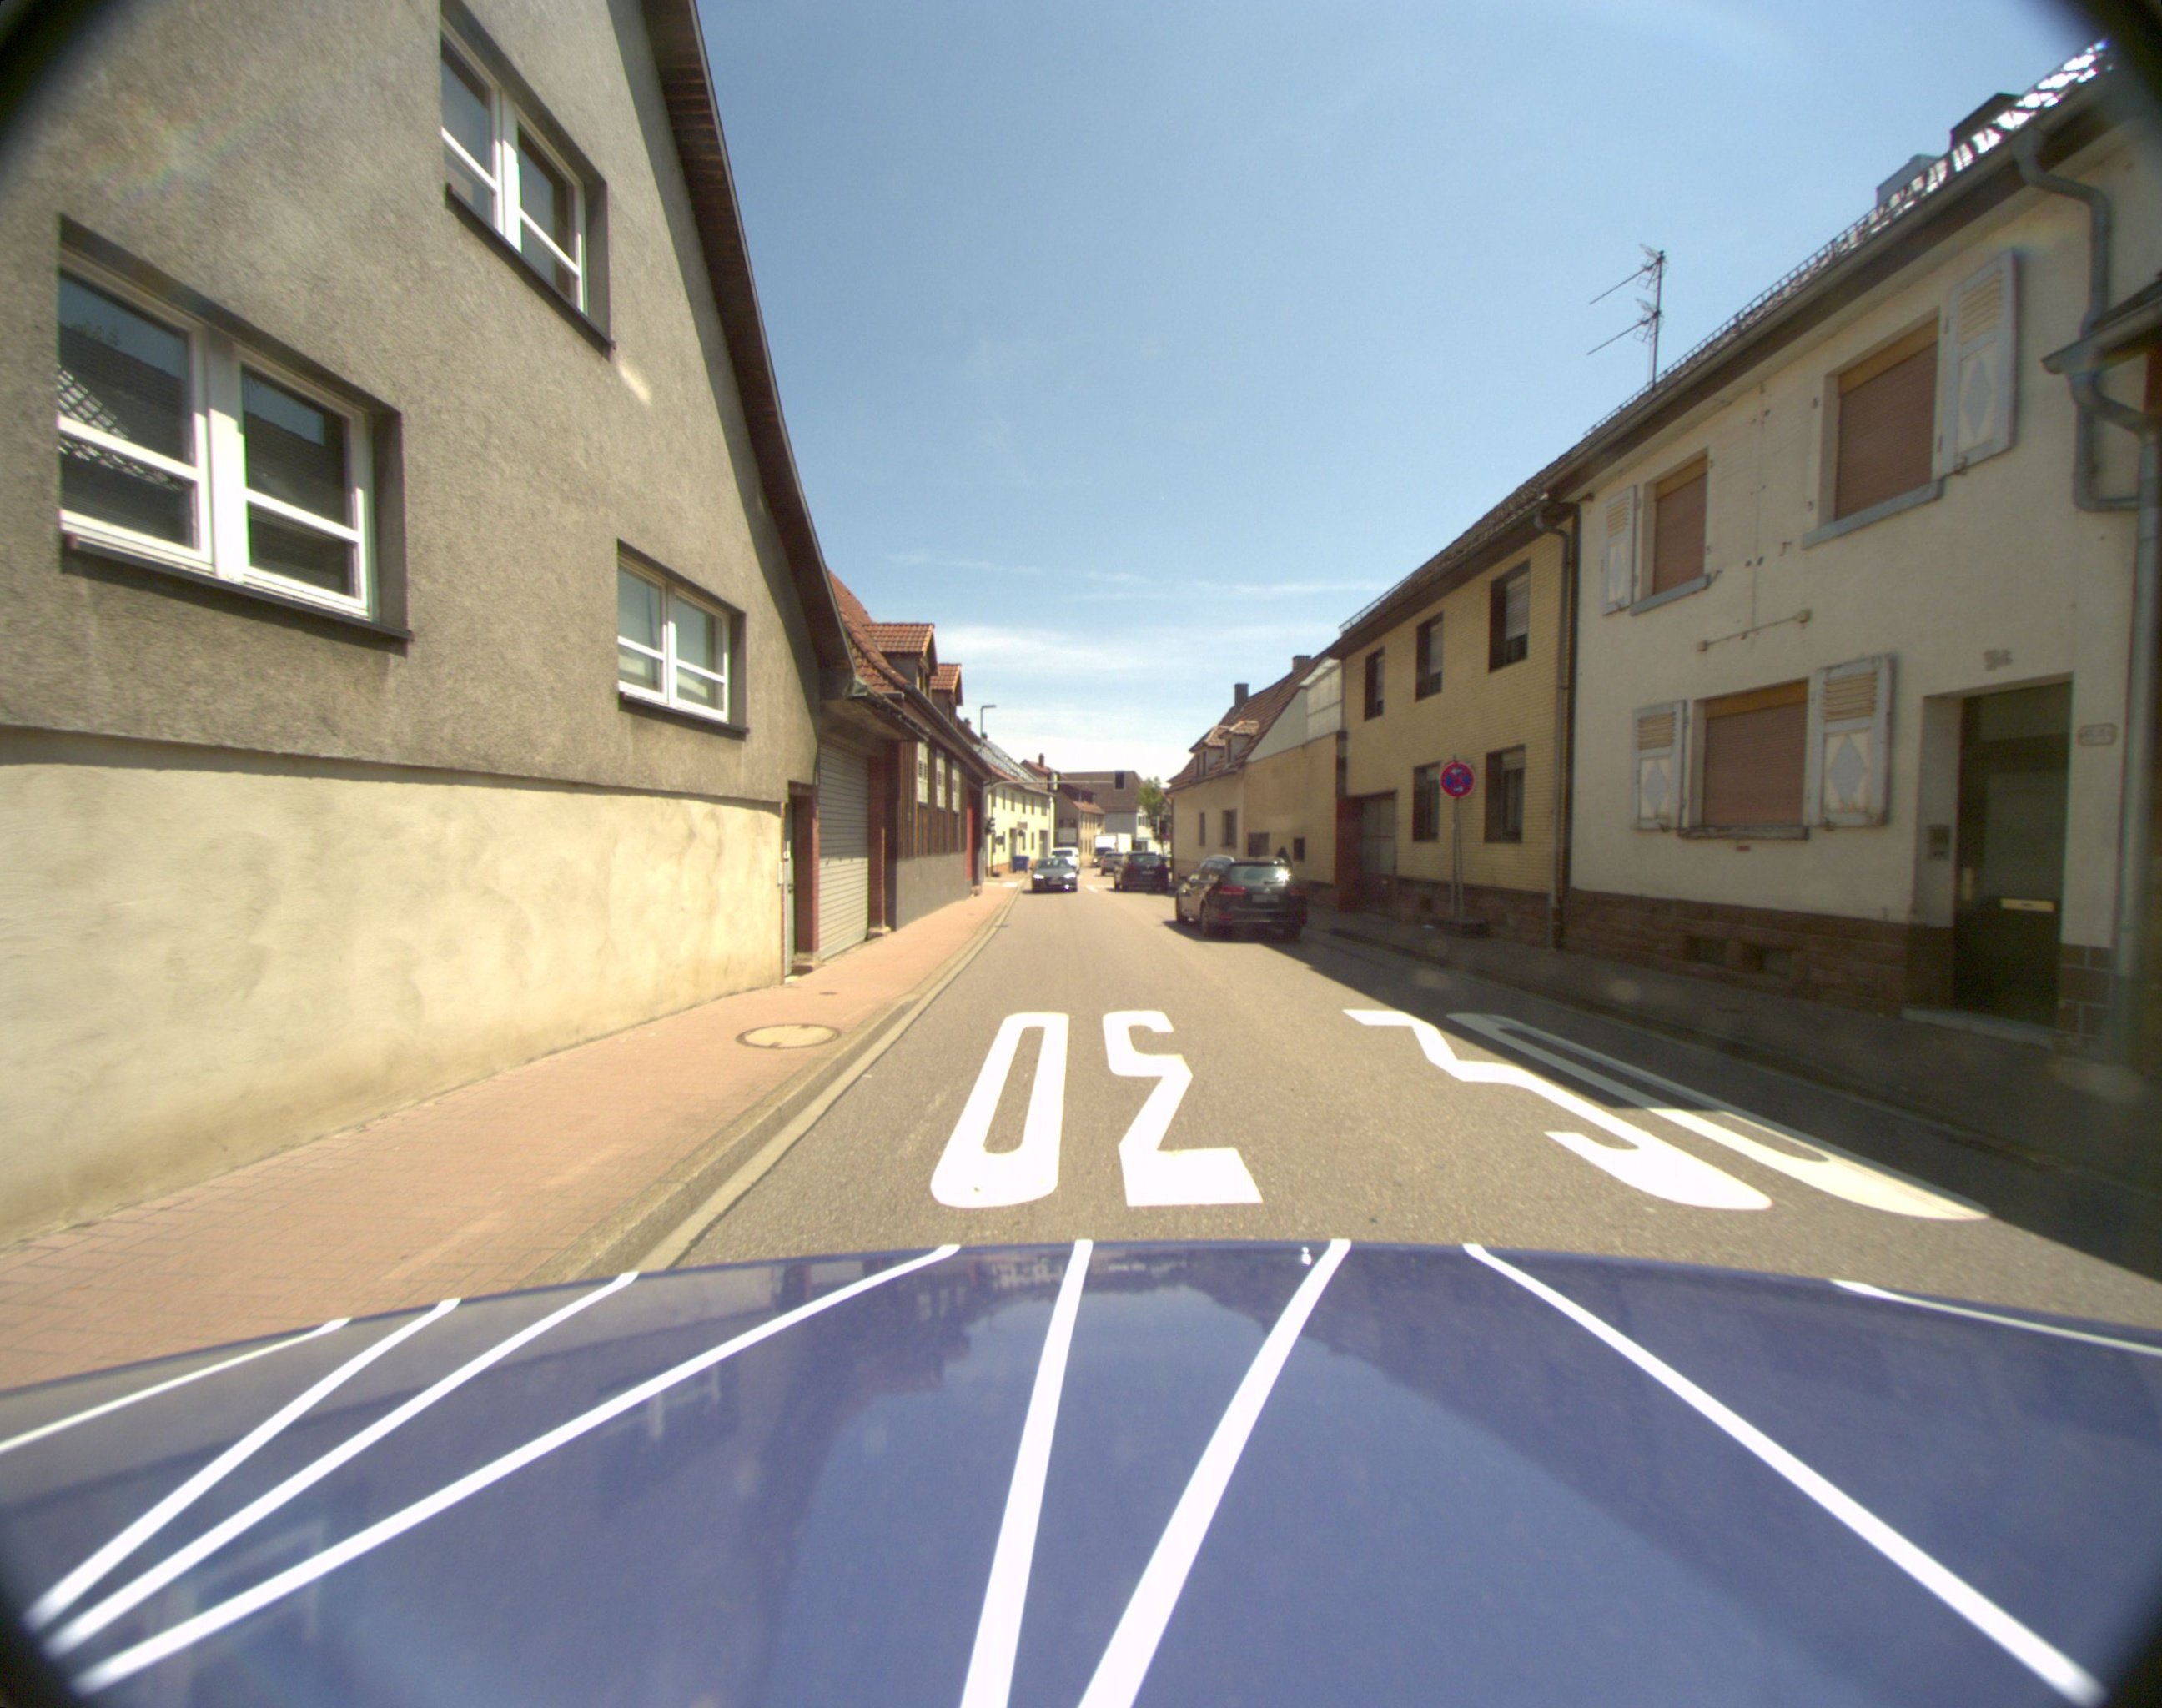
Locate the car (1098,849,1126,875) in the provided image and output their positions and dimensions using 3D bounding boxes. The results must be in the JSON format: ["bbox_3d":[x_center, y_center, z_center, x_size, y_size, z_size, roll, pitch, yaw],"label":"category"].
[{"bbox_3d":[2.124,0.501,51.340,1.833,1.612,4.261,0,1,3],"label":"car"}]

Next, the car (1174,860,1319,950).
[{"bbox_3d":[3.002,0.870,14.698,1.699,1.401,4.198,1,1,-3],"label":"car"}]

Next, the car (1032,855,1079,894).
[{"bbox_3d":[-0.993,0.781,30.788,1.786,1.365,3.605,-1,2,-1],"label":"car"}]

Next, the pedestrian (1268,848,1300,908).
[{"bbox_3d":[5.489,0.634,20.575,0.663,1.555,0.755,-1,2,-1],"label":"pedestrian"}]

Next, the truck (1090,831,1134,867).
[{"bbox_3d":[3.318,-0.595,79.135,2.864,3.493,8.326,2,2,14],"label":"truck"}]

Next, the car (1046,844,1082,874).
[{"bbox_3d":[-1.136,0.286,53.361,2.078,1.949,5.518,-1,2,3],"label":"car"}]

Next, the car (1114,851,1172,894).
[{"bbox_3d":[2.458,0.694,31.031,1.816,1.600,4.335,1,1,-2],"label":"car"}]
